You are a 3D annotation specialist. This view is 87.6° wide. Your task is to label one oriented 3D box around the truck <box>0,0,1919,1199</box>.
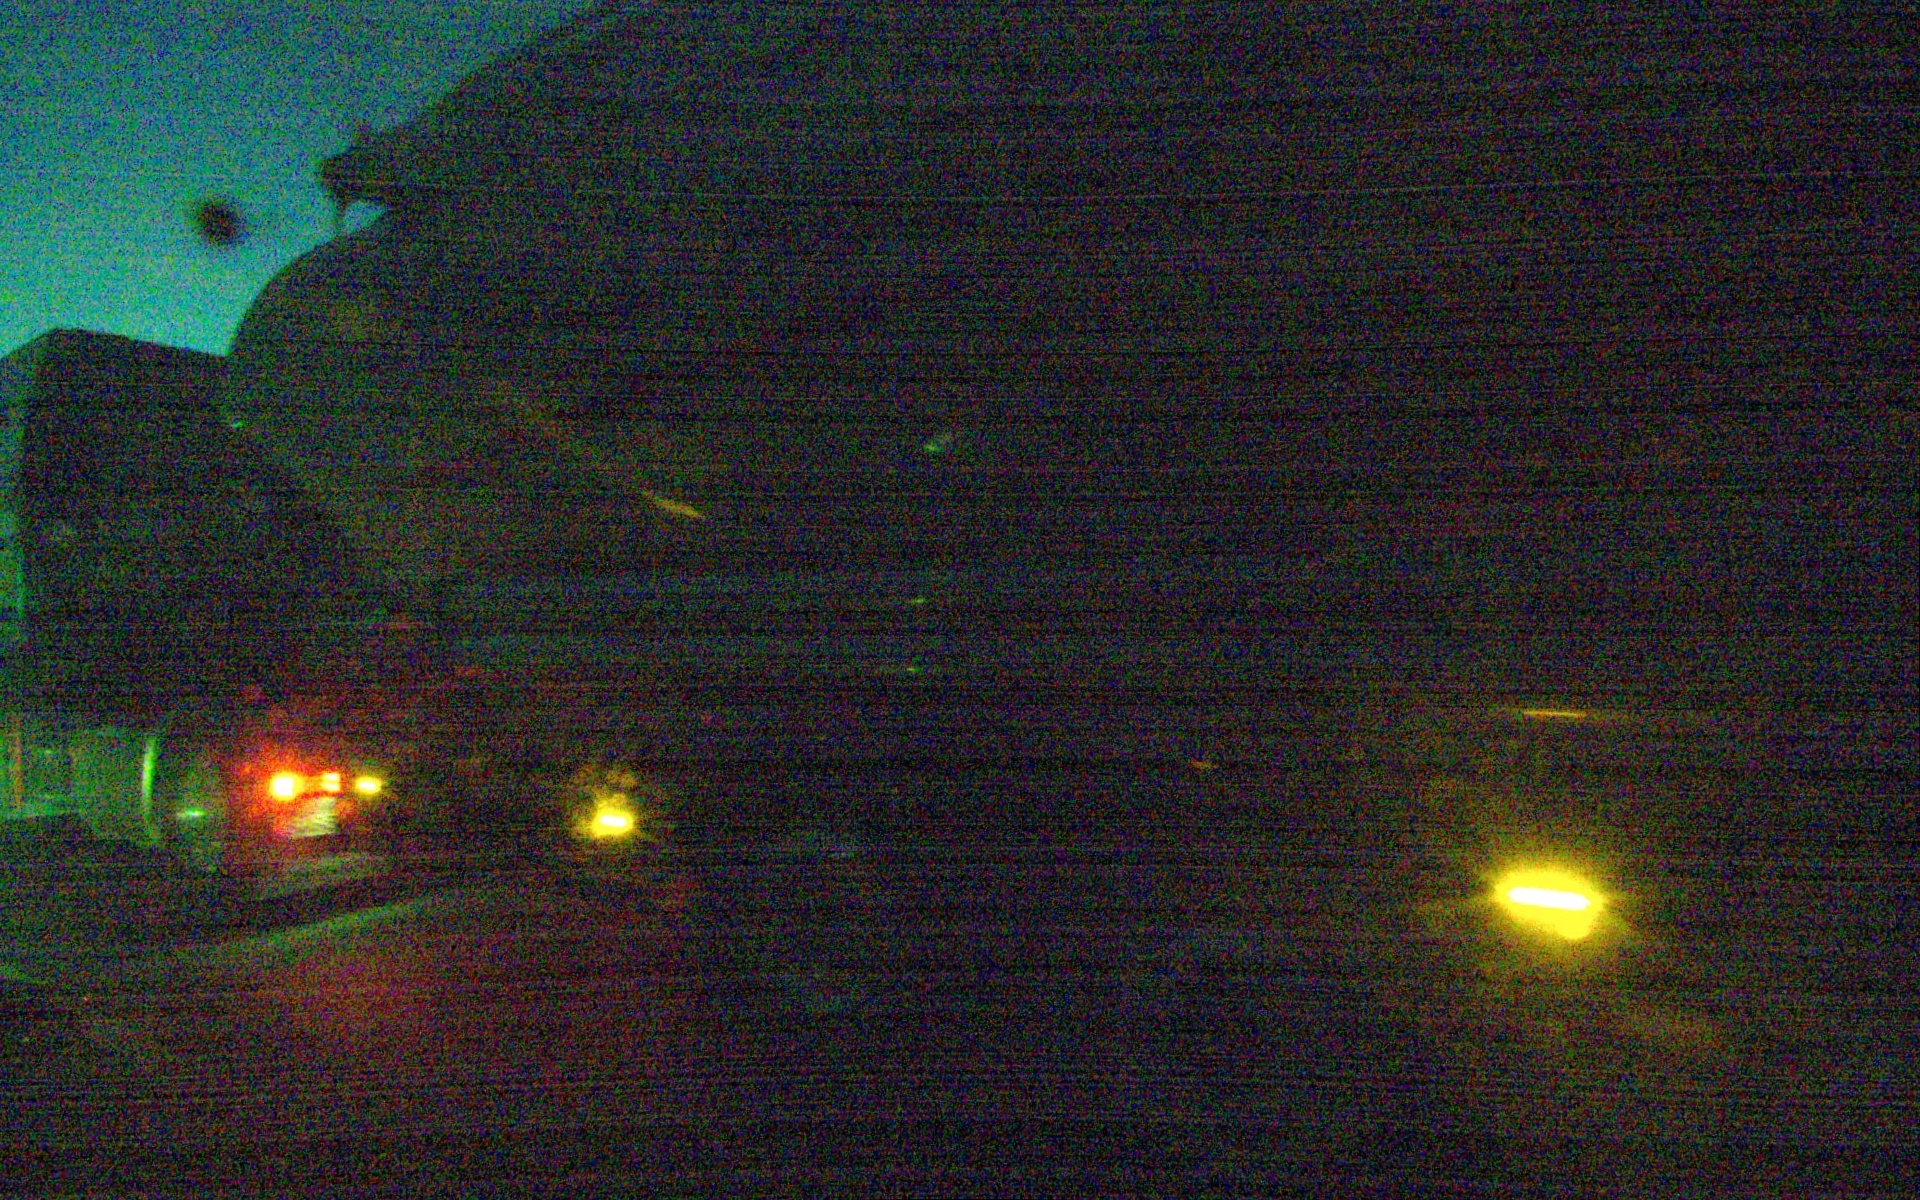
[{"bbox_3d":[-2.608,-0.456,5.855,12.959,4.159,2.682,-1,-2,34],"label":"truck"}]
